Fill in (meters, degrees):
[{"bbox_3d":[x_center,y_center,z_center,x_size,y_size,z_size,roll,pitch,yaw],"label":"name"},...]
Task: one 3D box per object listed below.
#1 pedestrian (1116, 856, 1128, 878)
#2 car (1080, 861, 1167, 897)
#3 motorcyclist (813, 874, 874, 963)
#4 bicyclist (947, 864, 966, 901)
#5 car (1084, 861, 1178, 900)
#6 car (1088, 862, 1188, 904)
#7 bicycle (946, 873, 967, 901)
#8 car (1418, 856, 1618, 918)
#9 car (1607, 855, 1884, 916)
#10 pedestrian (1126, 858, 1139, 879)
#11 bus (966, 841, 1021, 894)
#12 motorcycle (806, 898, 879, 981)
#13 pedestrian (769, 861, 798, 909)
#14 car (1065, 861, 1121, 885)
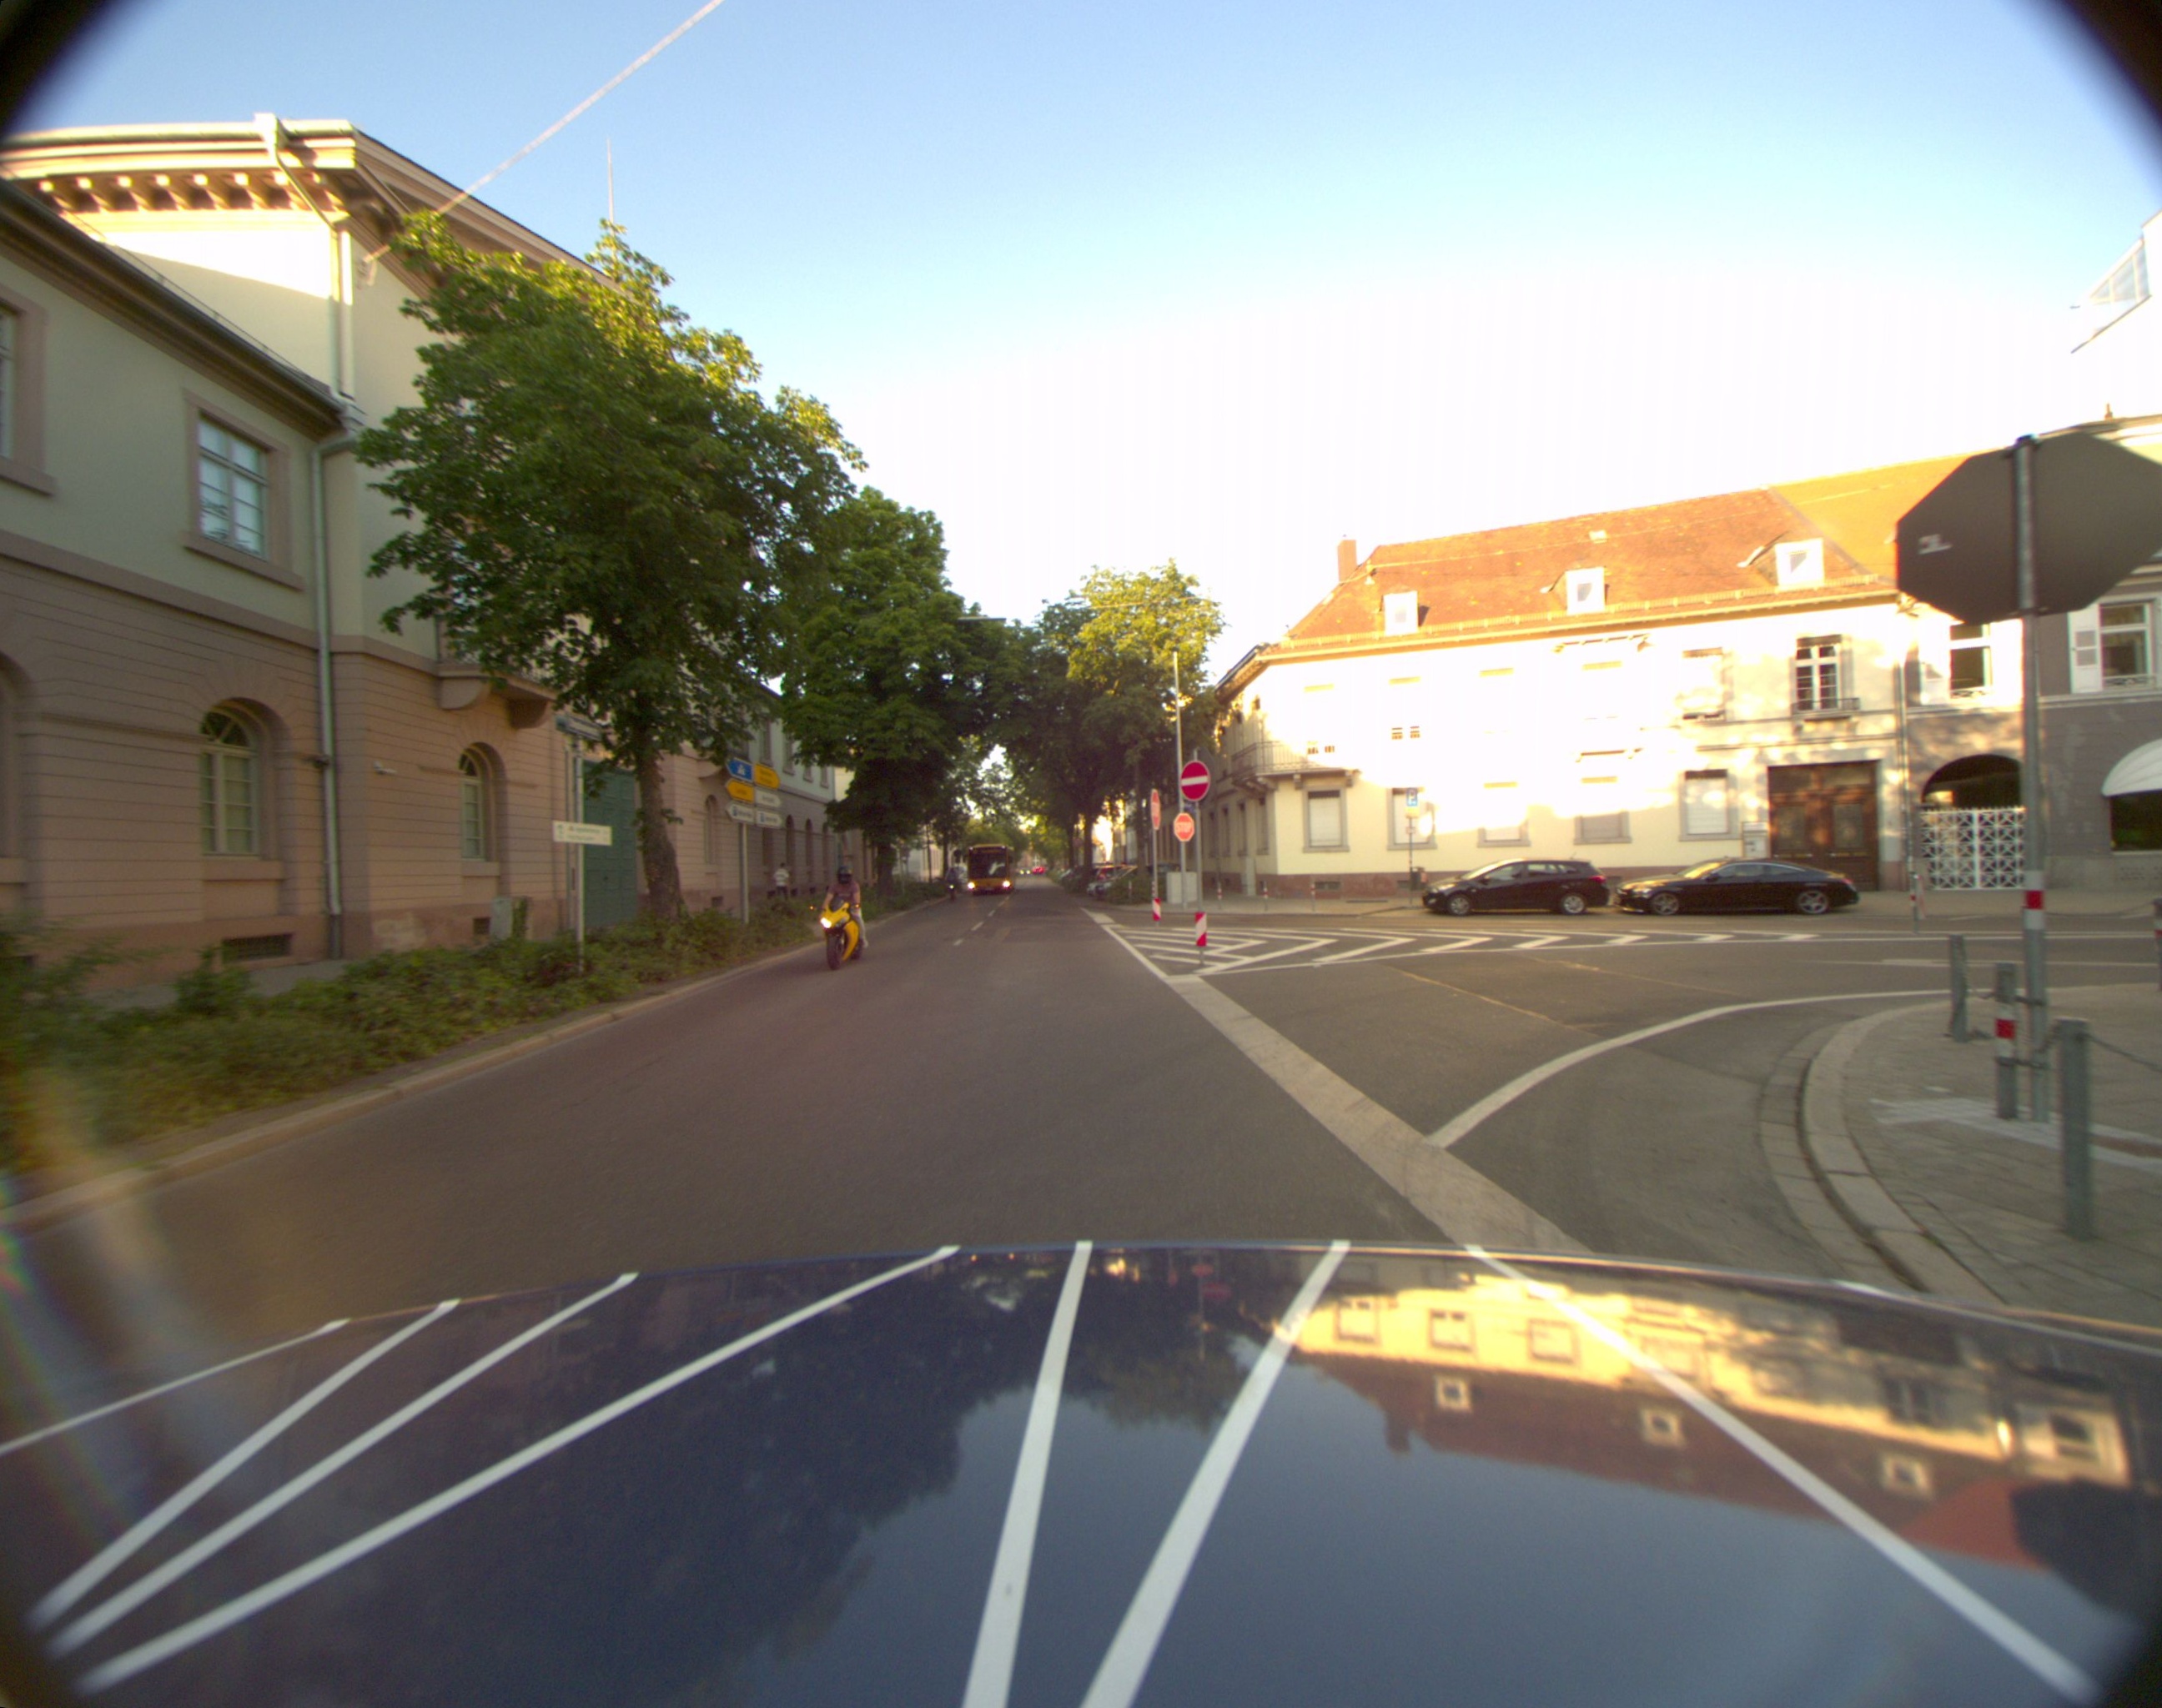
[{"bbox_3d":[3.401,1.092,63.448,0.806,1.760,1.021,-2,0,-4],"label":"pedestrian"},{"bbox_3d":[2.035,1.213,37.157,3.999,1.605,1.723,-2,0,-5],"label":"car"},{"bbox_3d":[-4.020,1.079,12.931,0.793,1.412,0.698,-3,0,-6],"label":"motorcyclist"},{"bbox_3d":[-6.358,1.441,38.856,0.783,1.828,0.826,-4,0,-3],"label":"bicyclist"},{"bbox_3d":[2.242,1.190,34.651,3.999,1.605,1.723,-2,0,-5],"label":"car"},{"bbox_3d":[2.372,1.205,32.252,3.999,1.605,1.828,-1,0,-5],"label":"car"},{"bbox_3d":[-6.350,1.690,38.903,0.783,1.322,2.077,-4,0,-3],"label":"bicycle"},{"bbox_3d":[11.644,0.896,20.598,4.421,1.532,1.810,-2,-1,20],"label":"car"},{"bbox_3d":[16.208,0.795,18.900,4.846,1.386,1.782,-2,-1,21],"label":"car"},{"bbox_3d":[4.265,1.222,63.514,0.895,1.760,1.021,-2,0,-4],"label":"pedestrian"},{"bbox_3d":[-5.645,0.868,51.027,2.712,2.982,12.079,-3,0,-3],"label":"bus"},{"bbox_3d":[-3.996,1.398,12.899,0.793,1.153,1.965,-3,0,-7],"label":"motorcycle"},{"bbox_3d":[-11.628,1.196,29.713,0.800,1.821,0.929,-2,0,-5],"label":"pedestrian"},{"bbox_3d":[0.887,1.402,57.051,3.999,1.605,1.723,-2,0,-5],"label":"car"}]
